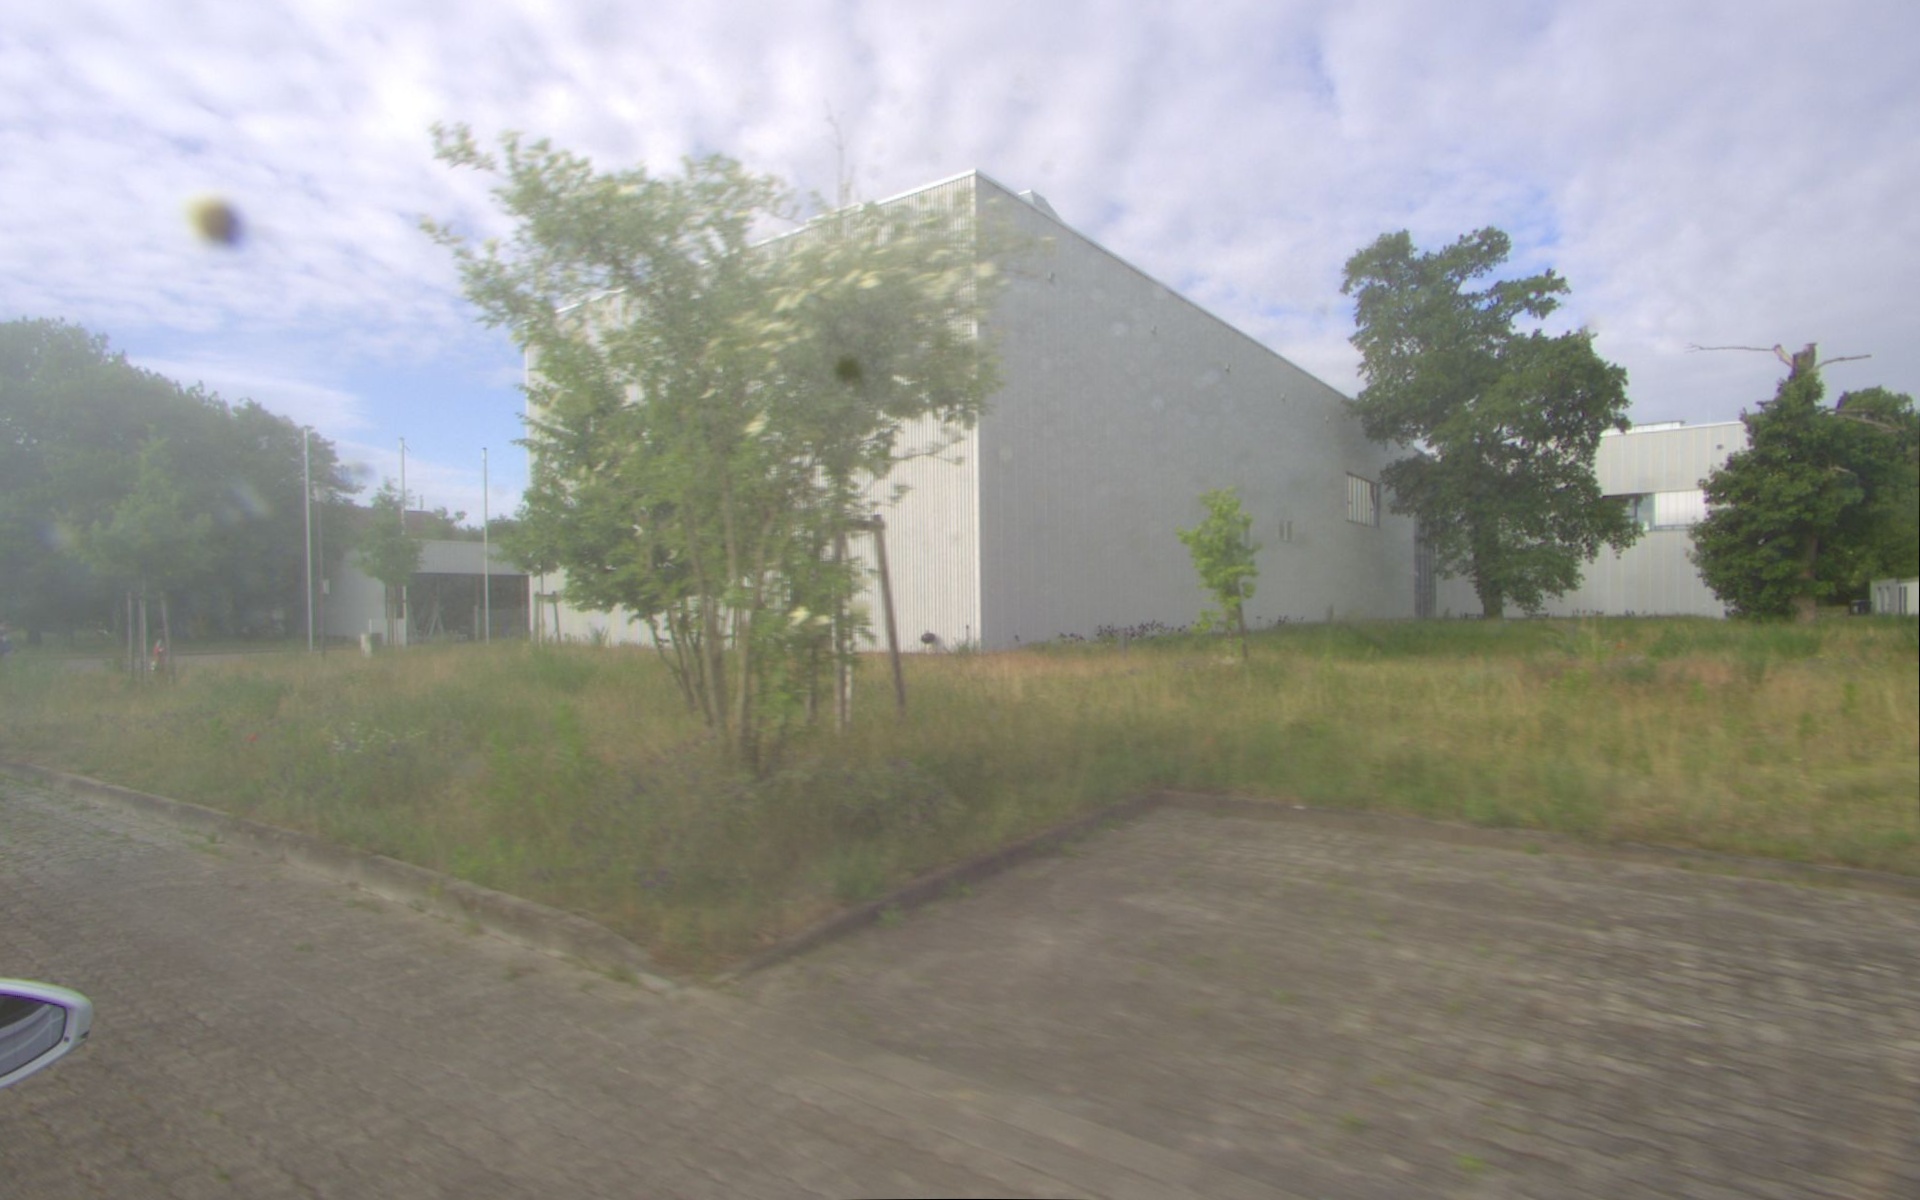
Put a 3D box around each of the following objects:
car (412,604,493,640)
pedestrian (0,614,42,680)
[{"bbox_3d":[-30.756,1.336,60.606,5.266,2.040,2.234,-1,0,36],"label":"car"},{"bbox_3d":[-23.239,1.144,24.367,1.063,1.577,1.070,-1,0,-29],"label":"pedestrian"}]
